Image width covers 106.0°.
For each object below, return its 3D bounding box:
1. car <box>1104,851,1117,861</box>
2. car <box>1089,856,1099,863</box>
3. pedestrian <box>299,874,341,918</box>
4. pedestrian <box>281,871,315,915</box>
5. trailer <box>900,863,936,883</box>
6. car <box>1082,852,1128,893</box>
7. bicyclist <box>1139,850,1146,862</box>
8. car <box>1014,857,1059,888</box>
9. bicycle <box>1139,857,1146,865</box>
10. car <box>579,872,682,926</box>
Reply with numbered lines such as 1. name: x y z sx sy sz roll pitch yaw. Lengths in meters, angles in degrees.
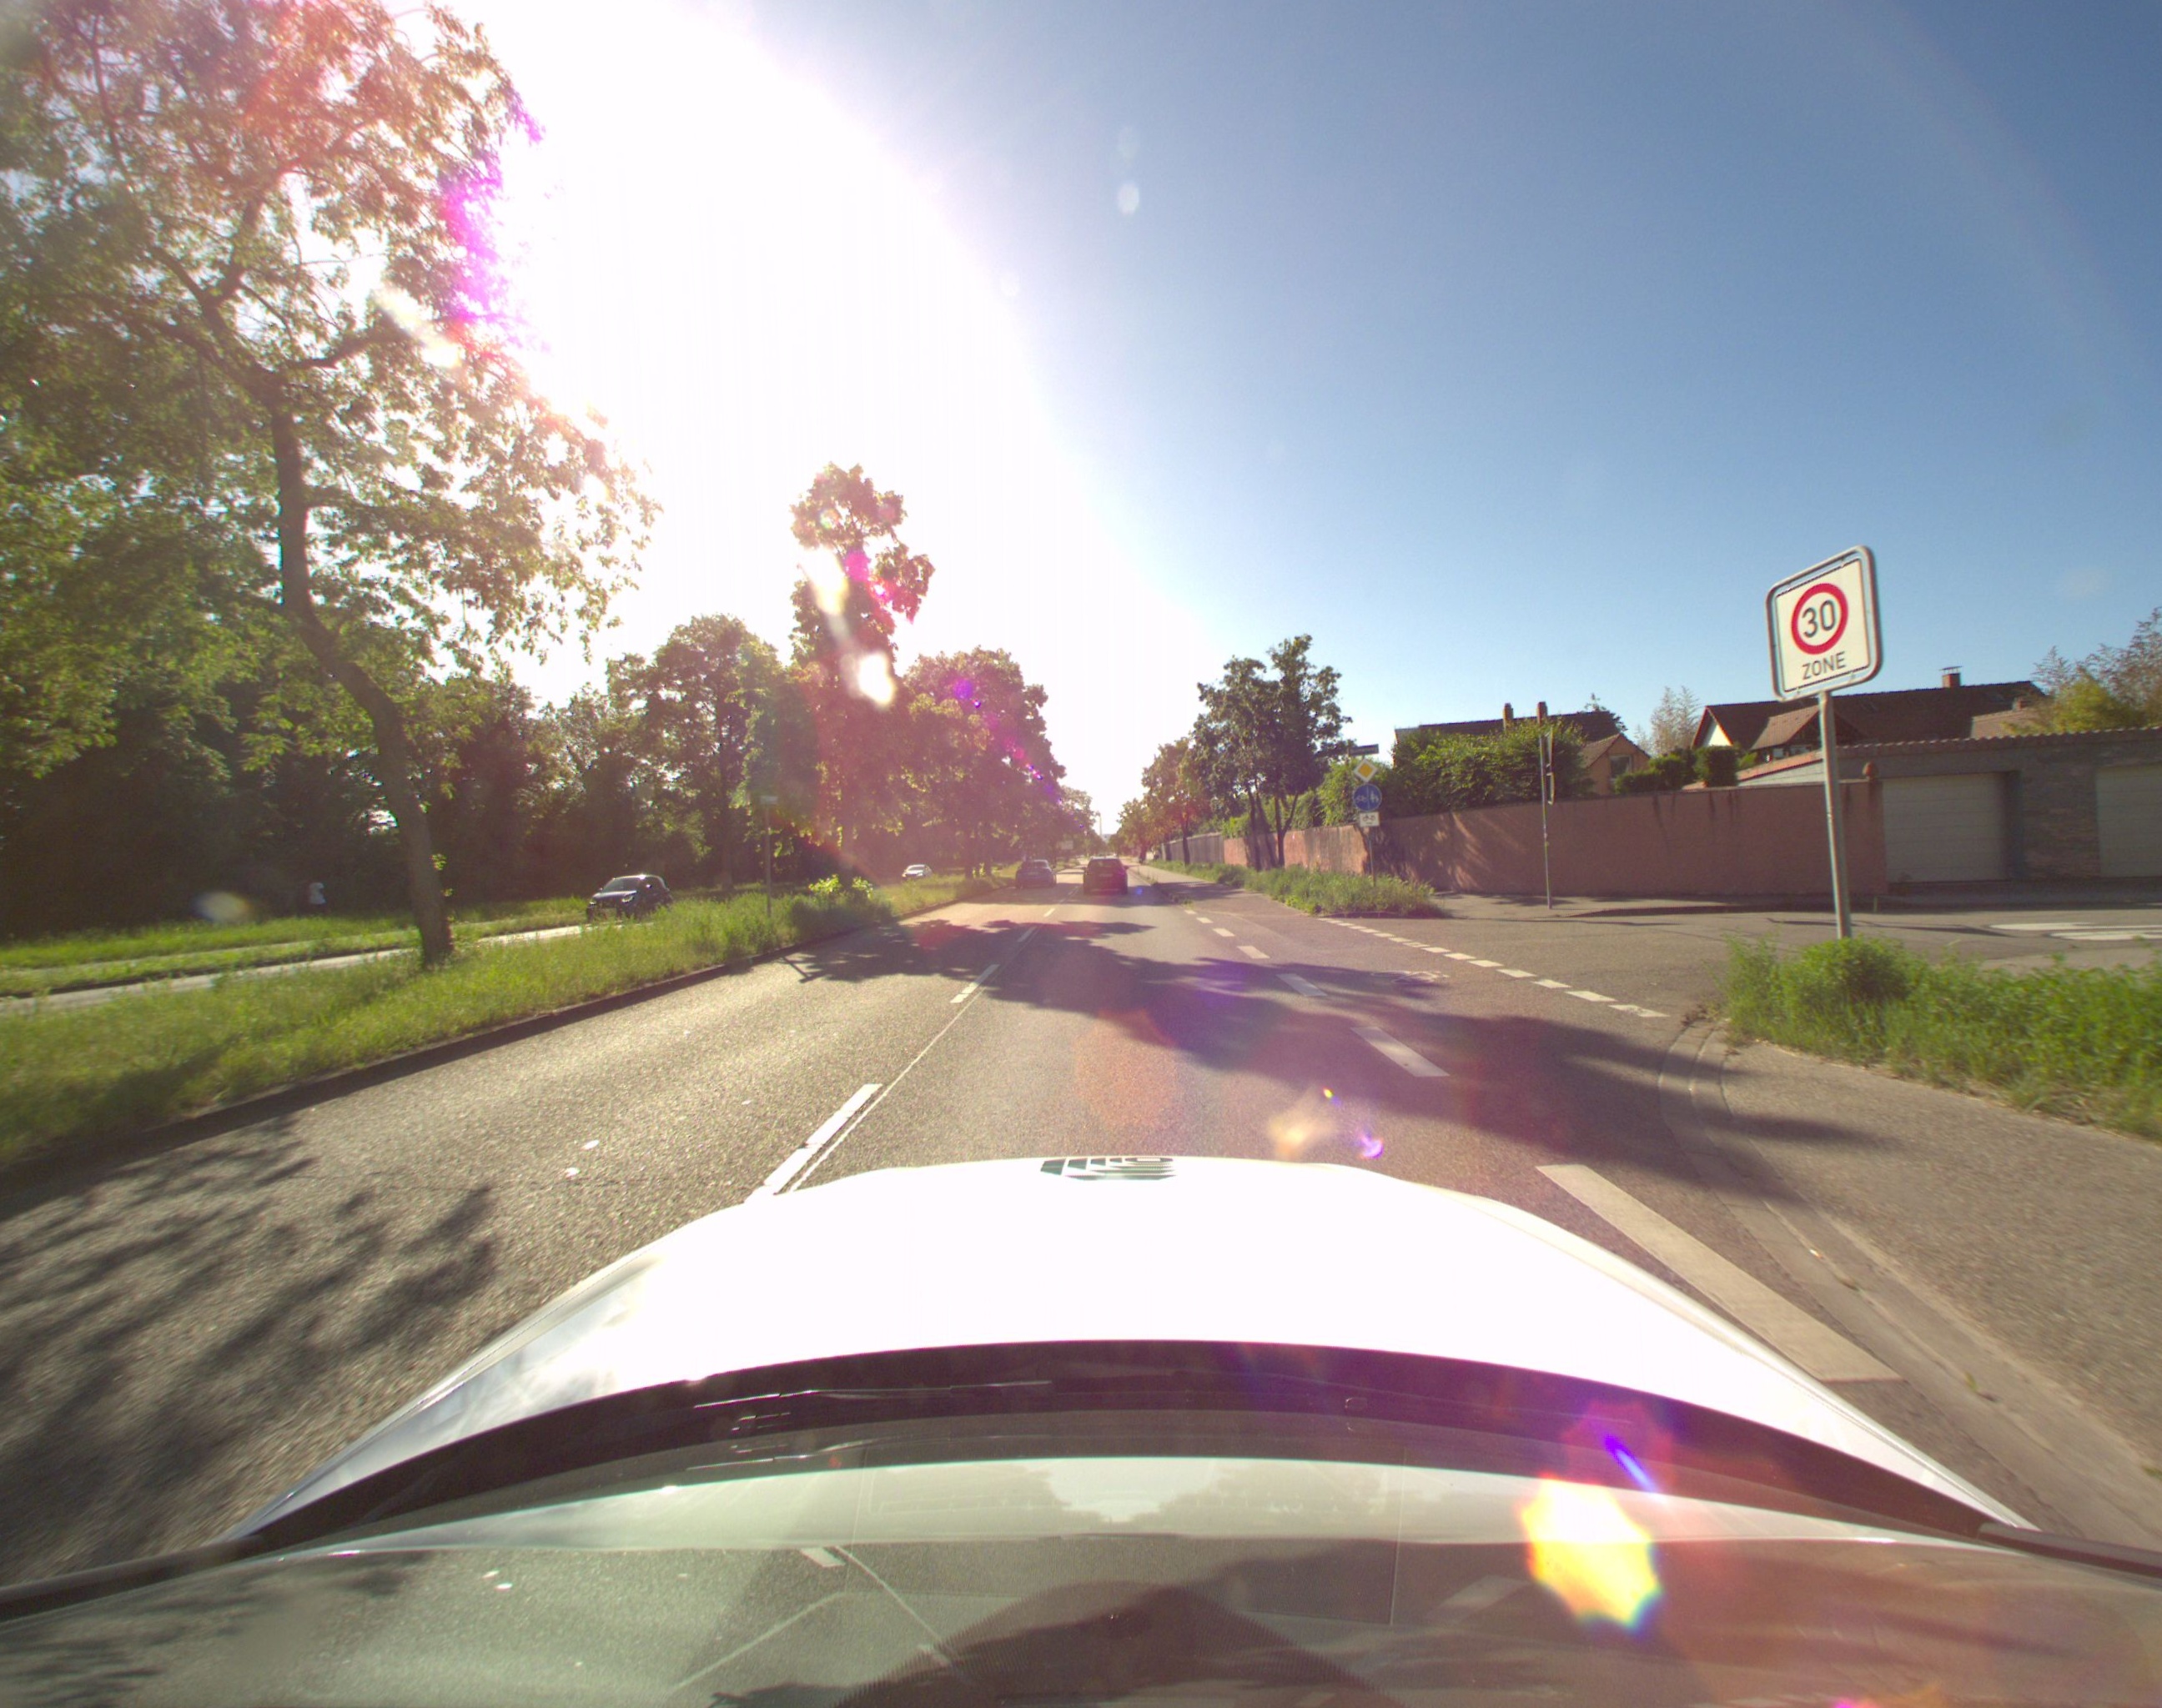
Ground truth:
1. car: 4.596 0.272 127.539 1.971 1.440 4.001 -2 1 1
2. car: 2.990 1.192 189.349 1.973 1.440 3.997 -2 1 -2
3. pedestrian: -26.302 1.429 28.162 0.542 1.460 0.917 -2 0 2
4. pedestrian: -27.072 1.348 28.176 0.542 1.460 0.596 -2 0 1
5. trailer: -13.291 1.533 66.665 1.734 1.424 4.499 -4 0 2
6. car: 1.020 0.712 33.226 1.753 1.559 4.003 0 0 3
7. bicyclist: 7.442 0.227 98.666 0.678 1.418 0.812 -2 0 1
8. car: -2.245 0.912 41.716 1.988 1.405 4.000 -2 0 1
9. bicycle: 7.449 0.825 98.698 0.653 0.892 1.875 -2 0 2
10. car: -15.251 1.486 27.745 1.710 1.505 3.015 -4 0 -1
